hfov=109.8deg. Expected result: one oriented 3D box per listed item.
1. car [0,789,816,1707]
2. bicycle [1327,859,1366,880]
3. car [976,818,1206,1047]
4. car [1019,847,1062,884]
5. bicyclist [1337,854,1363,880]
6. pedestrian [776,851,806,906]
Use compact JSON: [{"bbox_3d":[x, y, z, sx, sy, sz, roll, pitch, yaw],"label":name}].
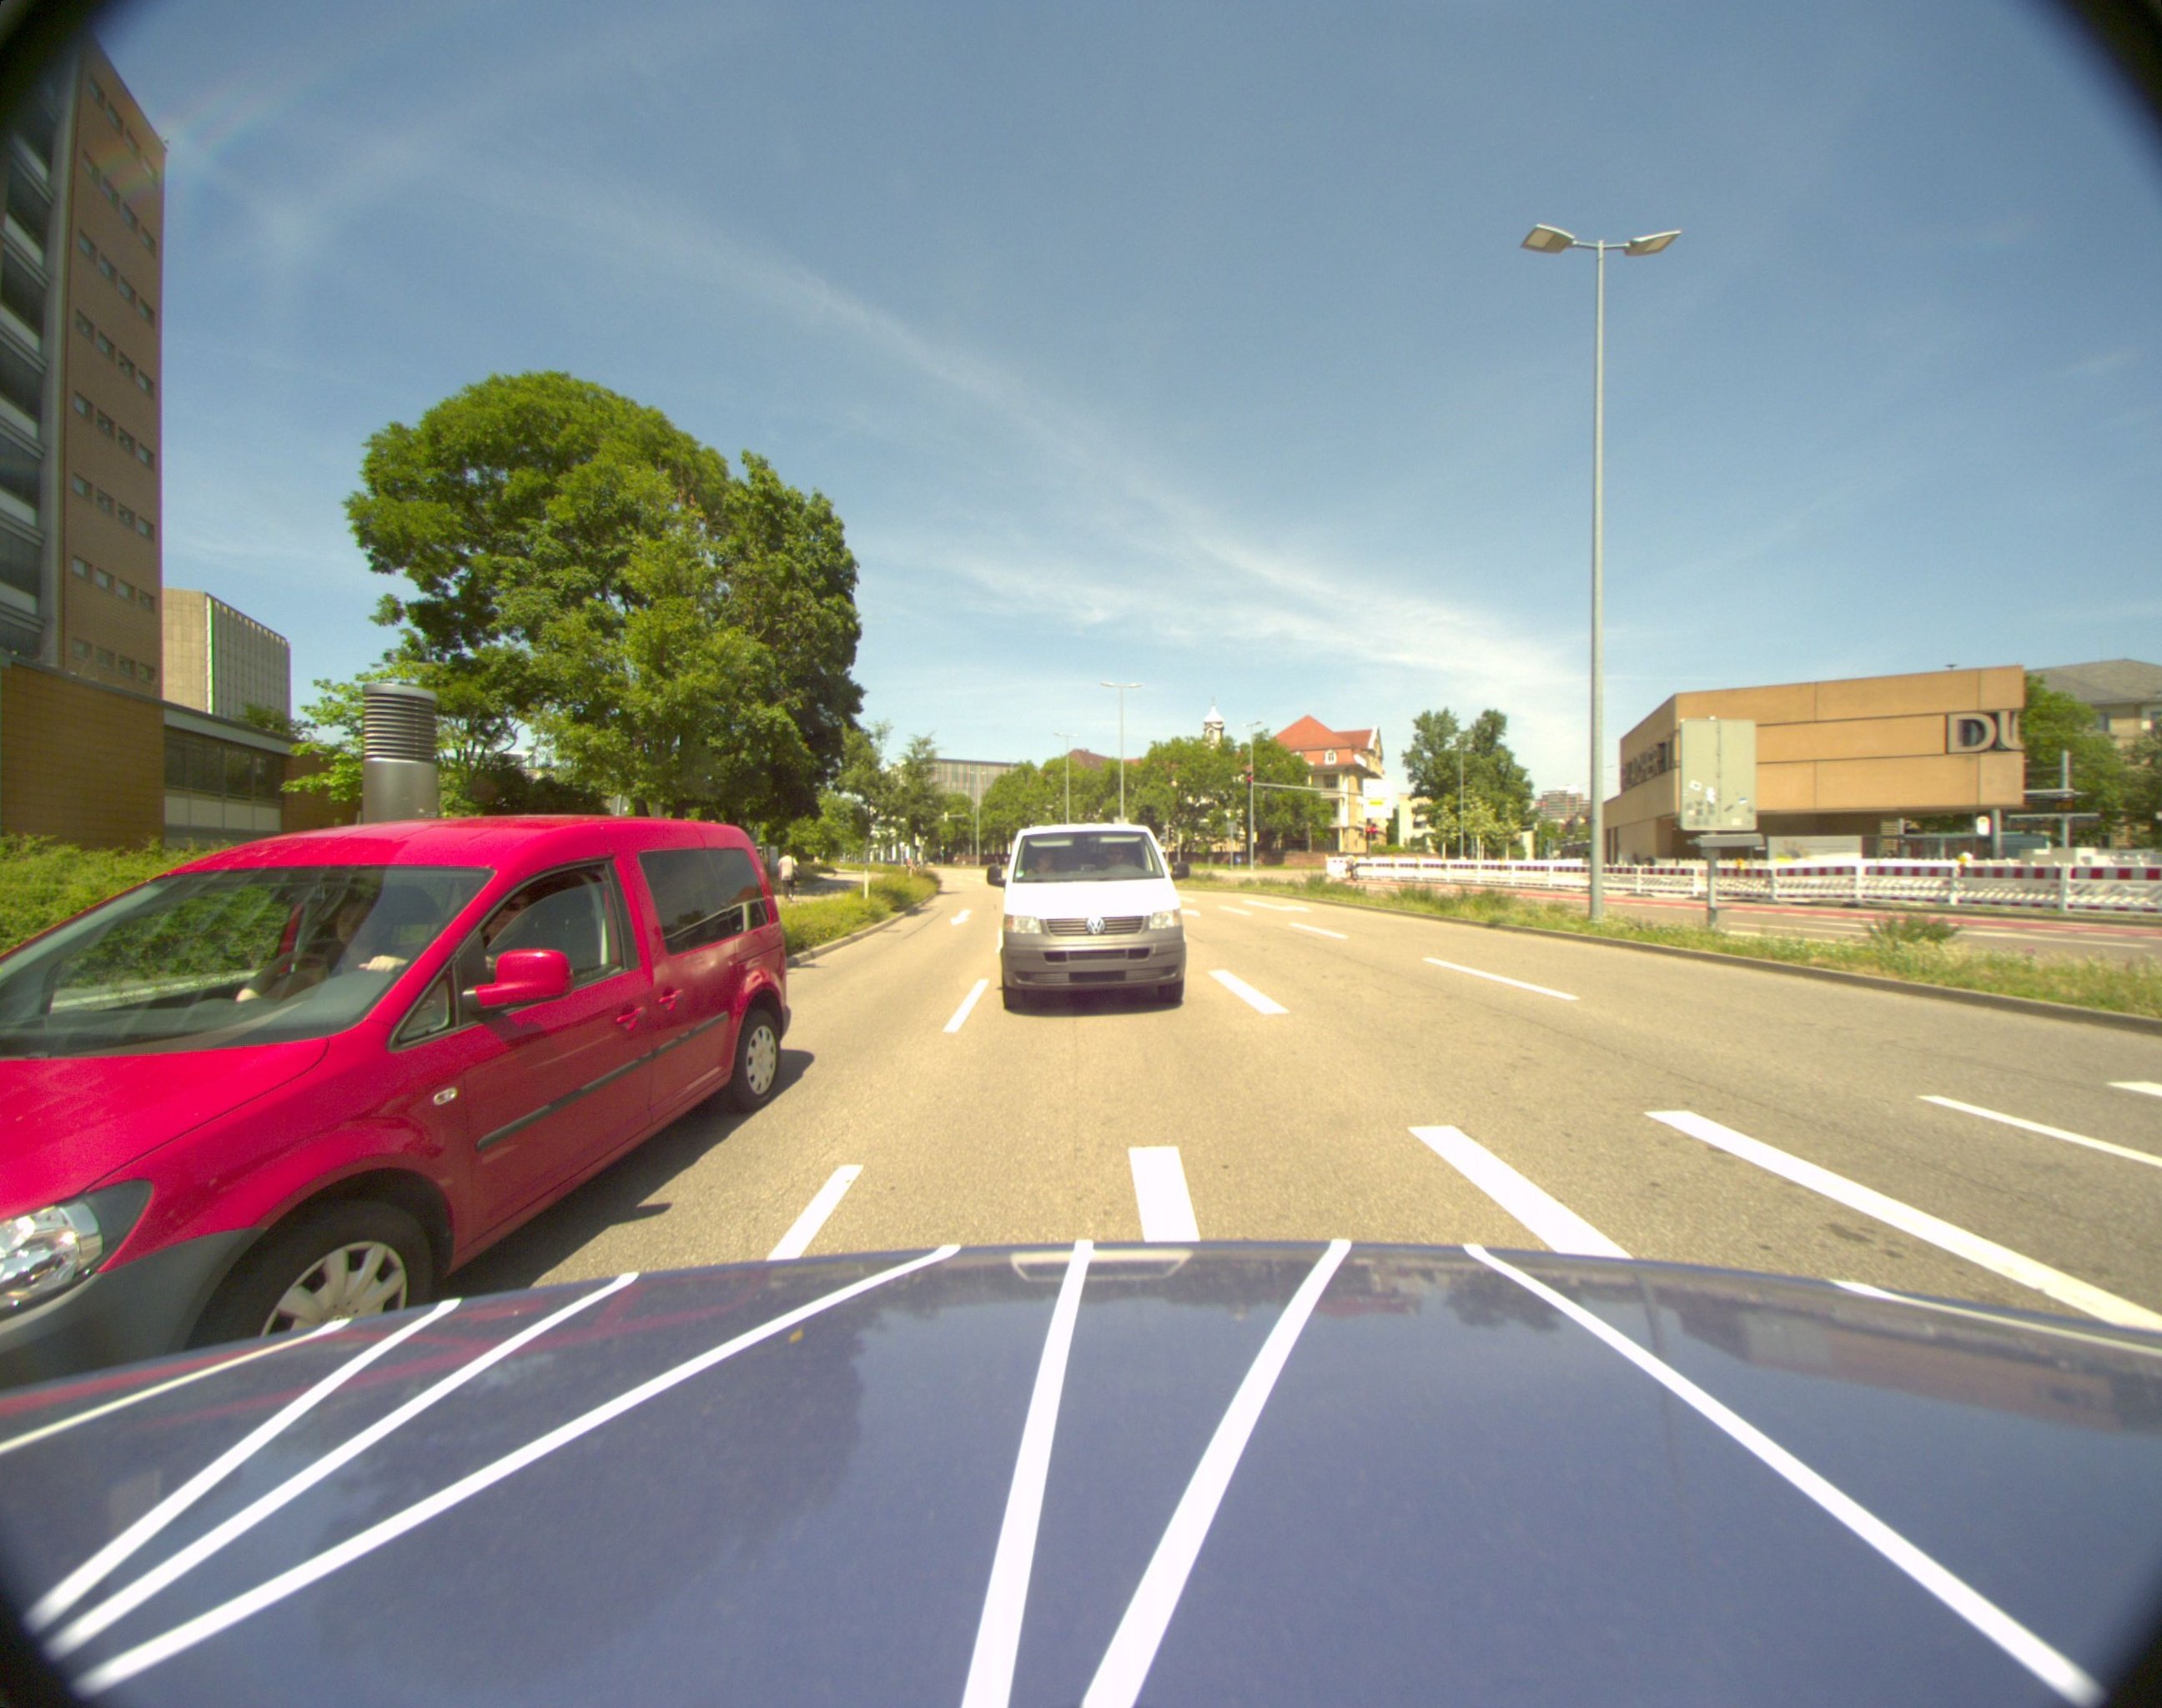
[{"bbox_3d":[-2.850,0.815,3.239,1.655,1.848,4.546,-1,0,2],"label":"car"},{"bbox_3d":[14.195,0.805,40.663,0.879,1.066,2.229,-2,1,-14],"label":"bicycle"},{"bbox_3d":[0.050,0.682,9.149,1.971,1.958,4.848,-2,0,-1],"label":"car"},{"bbox_3d":[-2.439,0.622,44.322,2.000,2.002,3.996,-2,1,-10],"label":"car"},{"bbox_3d":[14.321,0.667,40.528,0.587,1.348,1.438,-3,1,-14],"label":"bicyclist"},{"bbox_3d":[-9.462,0.791,24.796,0.728,1.787,0.614,0,1,1],"label":"pedestrian"}]
